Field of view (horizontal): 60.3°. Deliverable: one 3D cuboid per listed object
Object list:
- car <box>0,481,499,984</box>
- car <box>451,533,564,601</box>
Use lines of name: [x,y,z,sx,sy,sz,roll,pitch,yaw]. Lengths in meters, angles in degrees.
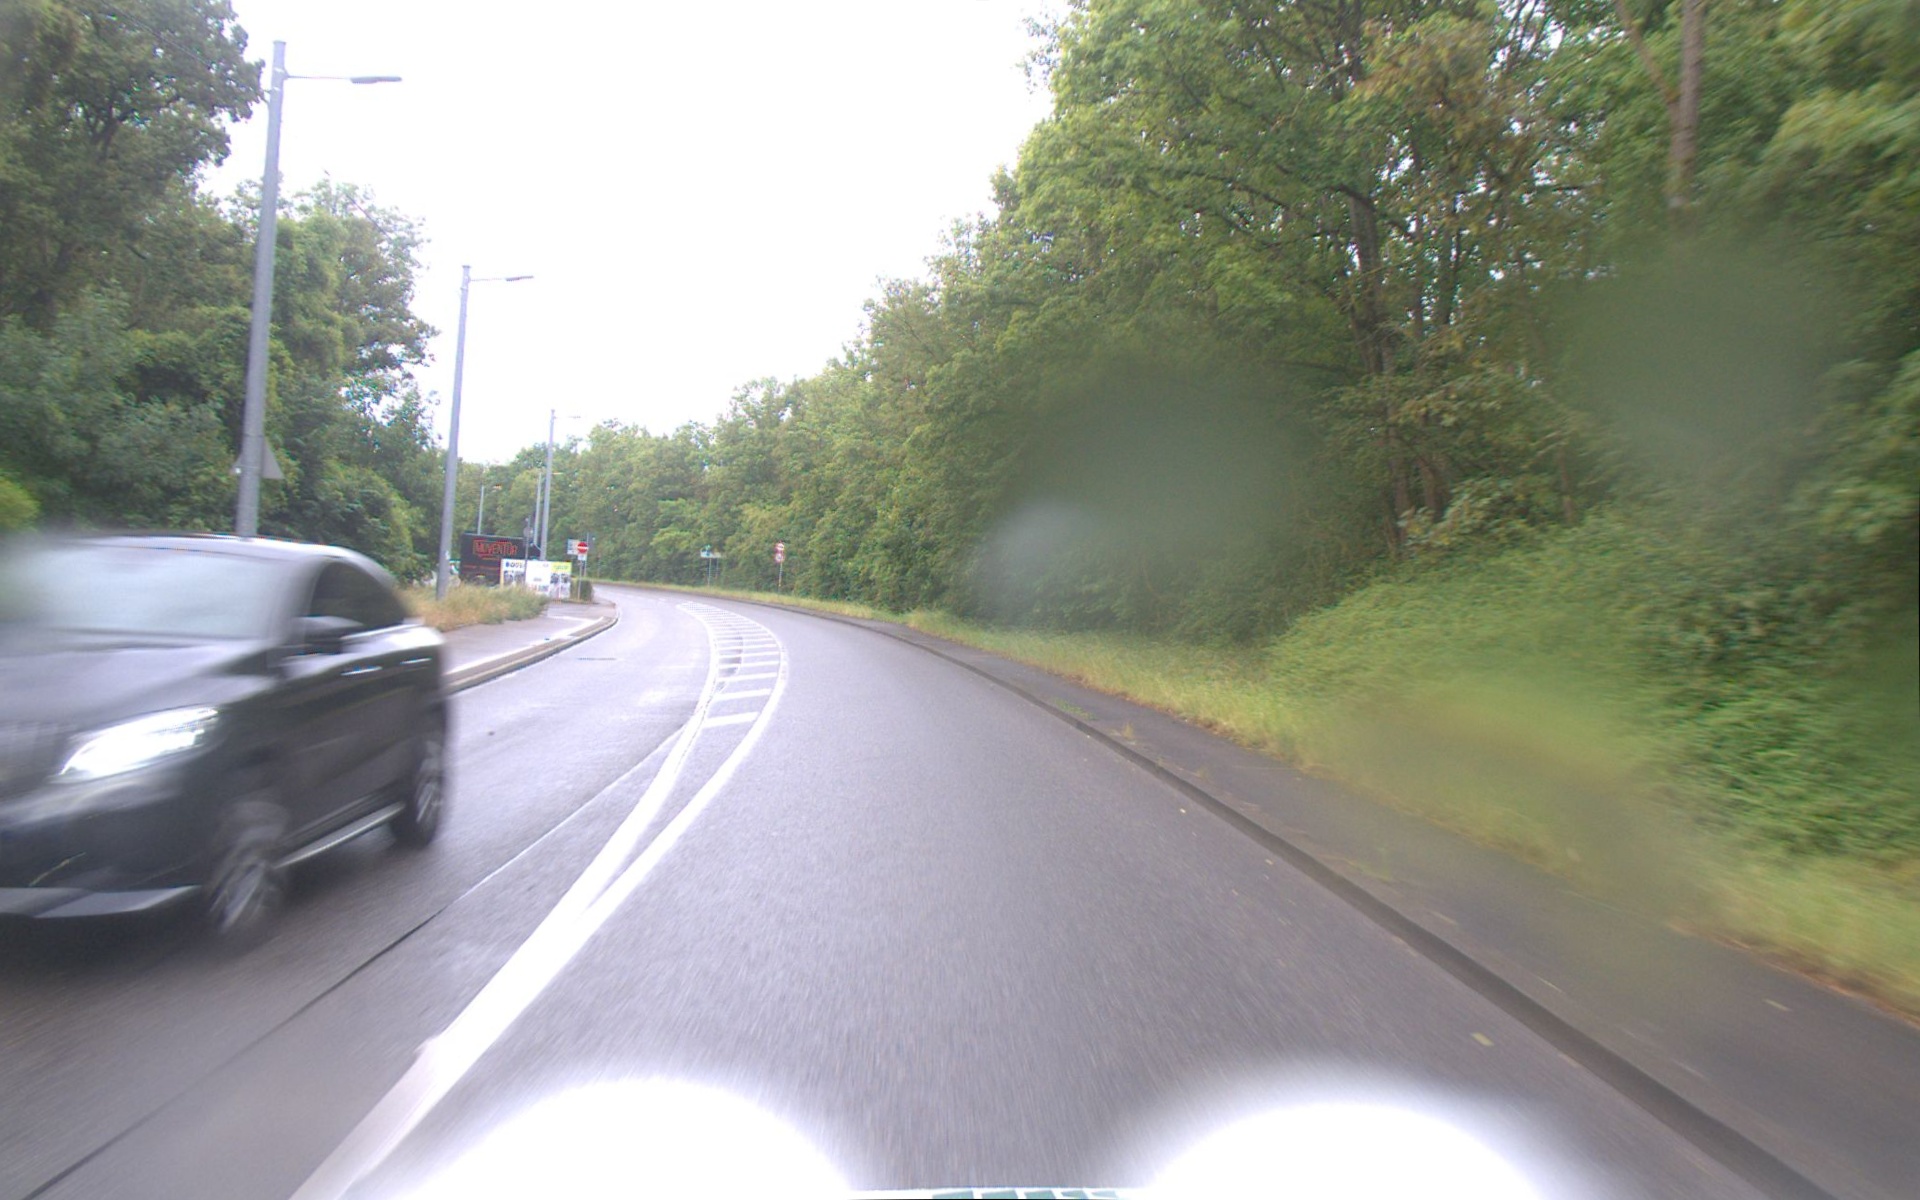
car: [-3.859,0.452,8.337,1.954,1.818,4.704,2,0,-4]
car: [-25.072,-1.795,91.683,5.860,3.563,1.988,1,0,-20]
